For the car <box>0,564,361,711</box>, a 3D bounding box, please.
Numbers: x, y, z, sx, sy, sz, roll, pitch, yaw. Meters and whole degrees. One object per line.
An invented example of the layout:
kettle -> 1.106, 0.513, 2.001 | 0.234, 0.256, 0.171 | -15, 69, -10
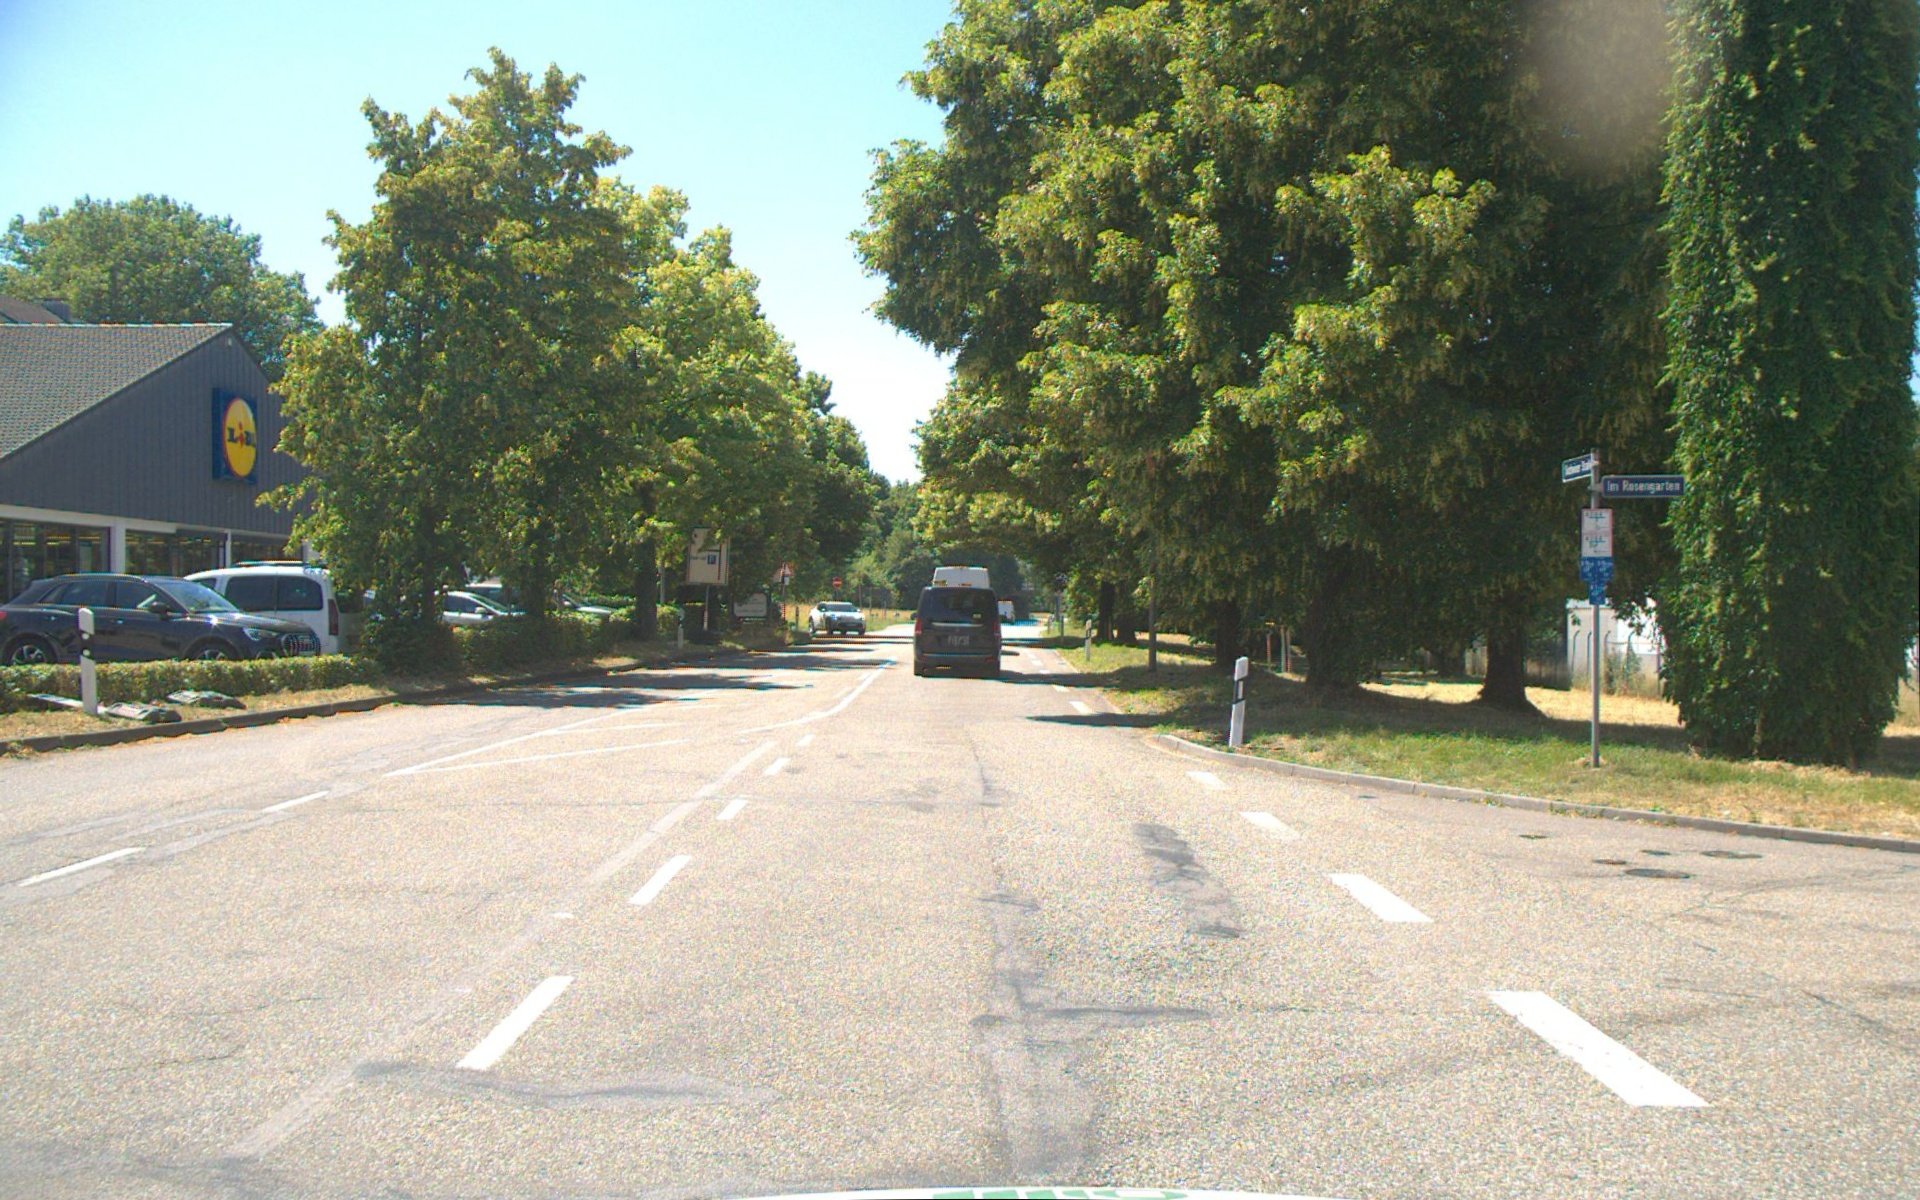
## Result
car -> -11.065, 0.516, 23.439 | 4.292, 1.877, 2.105 | 1, -1, 6

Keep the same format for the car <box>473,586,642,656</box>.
car -> -11.577, 0.593, 47.748 | 4.311, 1.807, 2.072 | 2, -1, -1

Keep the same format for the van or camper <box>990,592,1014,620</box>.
van or camper -> 4.774, 0.681, 187.126 | 2.577, 2.980, 5.207 | 2, -1, 1

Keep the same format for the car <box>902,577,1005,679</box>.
car -> -0.071, 0.594, 36.084 | 1.952, 1.987, 5.006 | 2, -1, 2

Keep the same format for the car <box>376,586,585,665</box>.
car -> -11.238, 0.593, 38.983 | 4.311, 1.648, 1.894 | 2, -1, -1

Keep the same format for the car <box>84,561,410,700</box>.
car -> -11.170, 0.486, 26.154 | 4.269, 2.015, 1.904 | 2, -1, -2

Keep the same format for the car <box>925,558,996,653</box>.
car -> 0.046, 0.183, 51.817 | 2.035, 2.750, 4.666 | 2, -1, 1

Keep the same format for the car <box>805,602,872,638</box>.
car -> -6.016, 0.953, 81.444 | 2.064, 1.616, 4.448 | 3, -1, -20
